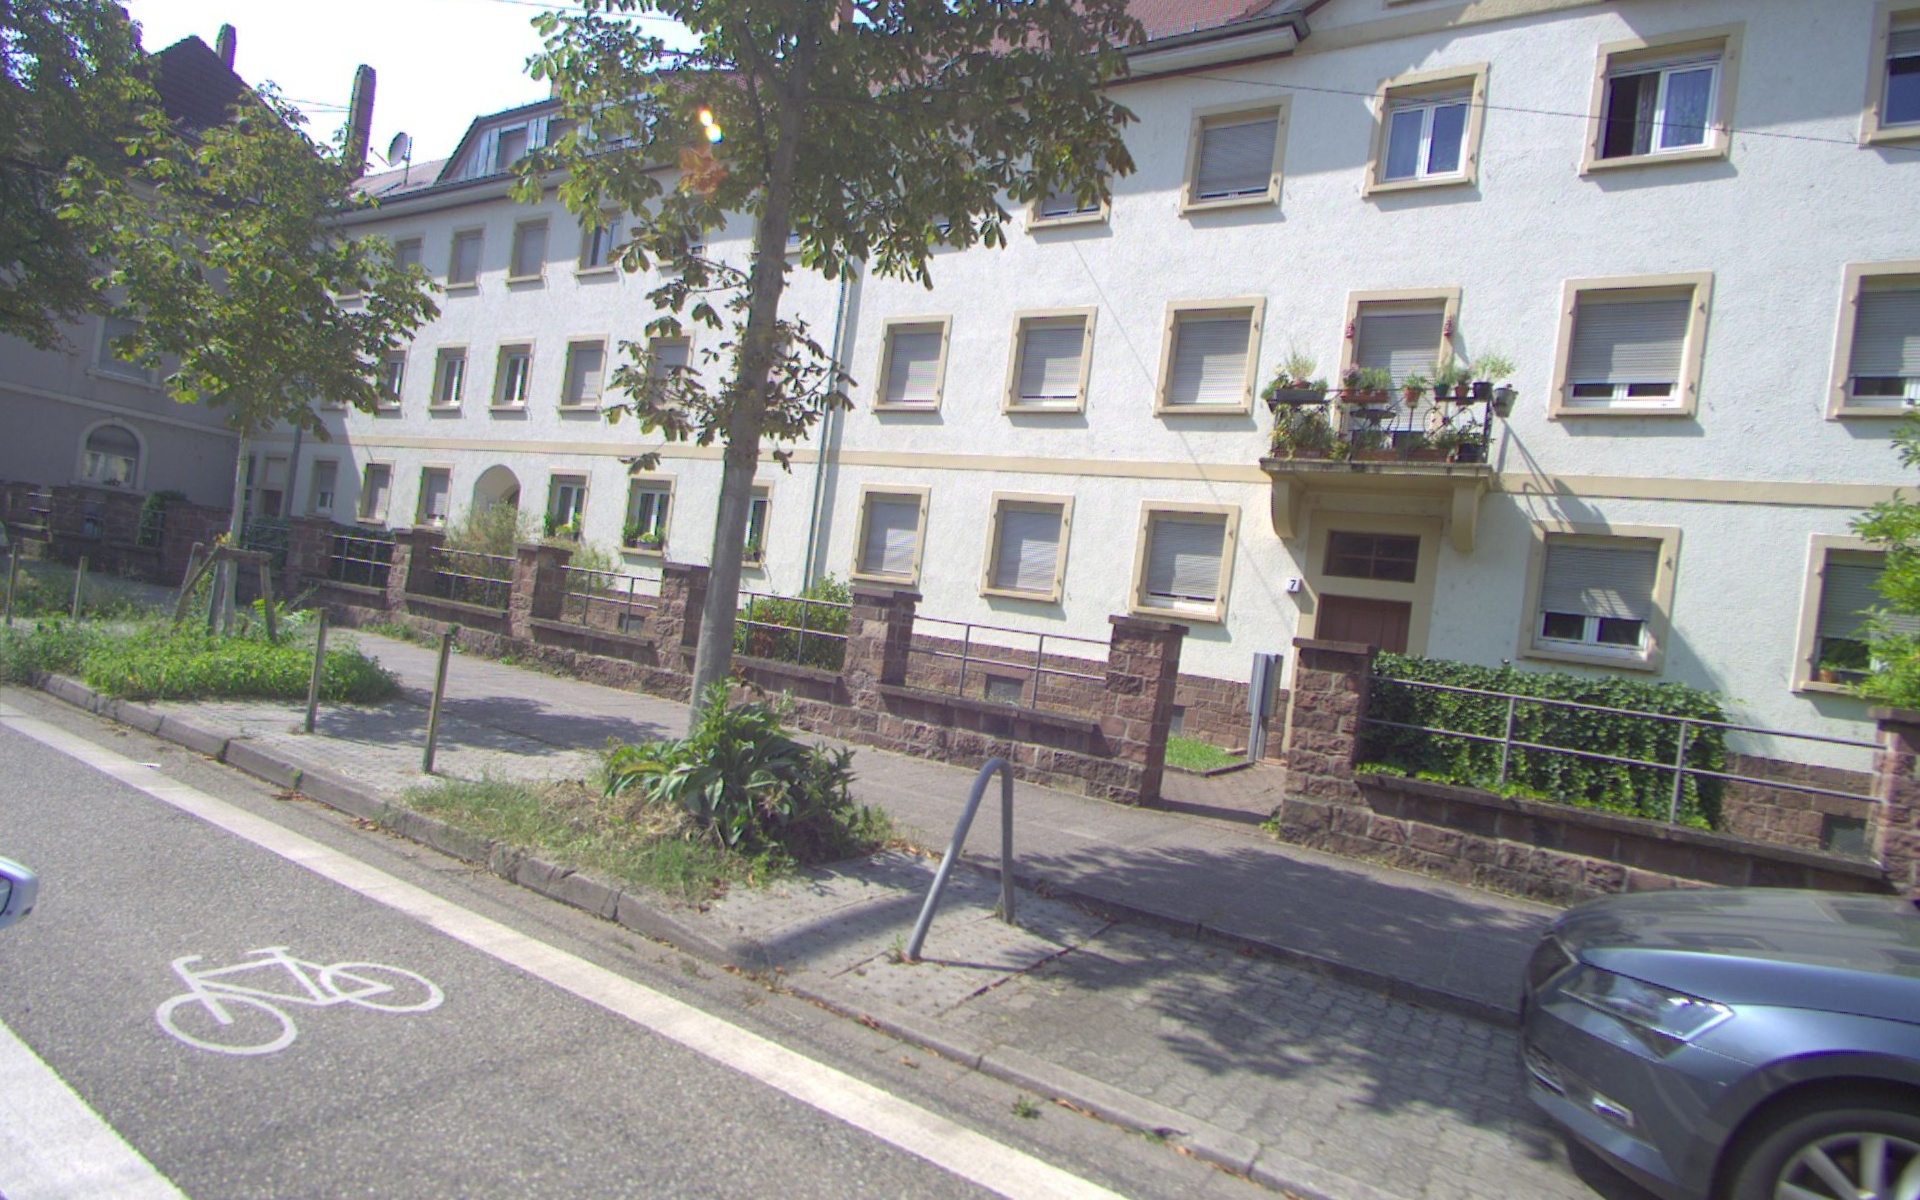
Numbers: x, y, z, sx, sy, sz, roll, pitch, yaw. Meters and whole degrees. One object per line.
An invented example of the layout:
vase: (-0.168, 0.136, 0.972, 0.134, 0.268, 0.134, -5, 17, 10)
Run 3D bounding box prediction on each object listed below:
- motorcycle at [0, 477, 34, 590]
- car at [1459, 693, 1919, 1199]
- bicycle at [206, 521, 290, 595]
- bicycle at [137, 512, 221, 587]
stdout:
motorcycle: (-14.520, -1.036, 13.851, 2.311, 1.559, 0.965, 6, 0, -18)
car: (4.050, 1.339, 2.531, 4.759, 1.495, 1.896, 7, -1, 31)
bicycle: (-15.505, -0.925, 21.873, 2.331, 1.374, 0.594, 6, -1, 34)
bicycle: (-16.593, -1.083, 21.360, 2.331, 1.374, 0.594, 6, -1, 34)
